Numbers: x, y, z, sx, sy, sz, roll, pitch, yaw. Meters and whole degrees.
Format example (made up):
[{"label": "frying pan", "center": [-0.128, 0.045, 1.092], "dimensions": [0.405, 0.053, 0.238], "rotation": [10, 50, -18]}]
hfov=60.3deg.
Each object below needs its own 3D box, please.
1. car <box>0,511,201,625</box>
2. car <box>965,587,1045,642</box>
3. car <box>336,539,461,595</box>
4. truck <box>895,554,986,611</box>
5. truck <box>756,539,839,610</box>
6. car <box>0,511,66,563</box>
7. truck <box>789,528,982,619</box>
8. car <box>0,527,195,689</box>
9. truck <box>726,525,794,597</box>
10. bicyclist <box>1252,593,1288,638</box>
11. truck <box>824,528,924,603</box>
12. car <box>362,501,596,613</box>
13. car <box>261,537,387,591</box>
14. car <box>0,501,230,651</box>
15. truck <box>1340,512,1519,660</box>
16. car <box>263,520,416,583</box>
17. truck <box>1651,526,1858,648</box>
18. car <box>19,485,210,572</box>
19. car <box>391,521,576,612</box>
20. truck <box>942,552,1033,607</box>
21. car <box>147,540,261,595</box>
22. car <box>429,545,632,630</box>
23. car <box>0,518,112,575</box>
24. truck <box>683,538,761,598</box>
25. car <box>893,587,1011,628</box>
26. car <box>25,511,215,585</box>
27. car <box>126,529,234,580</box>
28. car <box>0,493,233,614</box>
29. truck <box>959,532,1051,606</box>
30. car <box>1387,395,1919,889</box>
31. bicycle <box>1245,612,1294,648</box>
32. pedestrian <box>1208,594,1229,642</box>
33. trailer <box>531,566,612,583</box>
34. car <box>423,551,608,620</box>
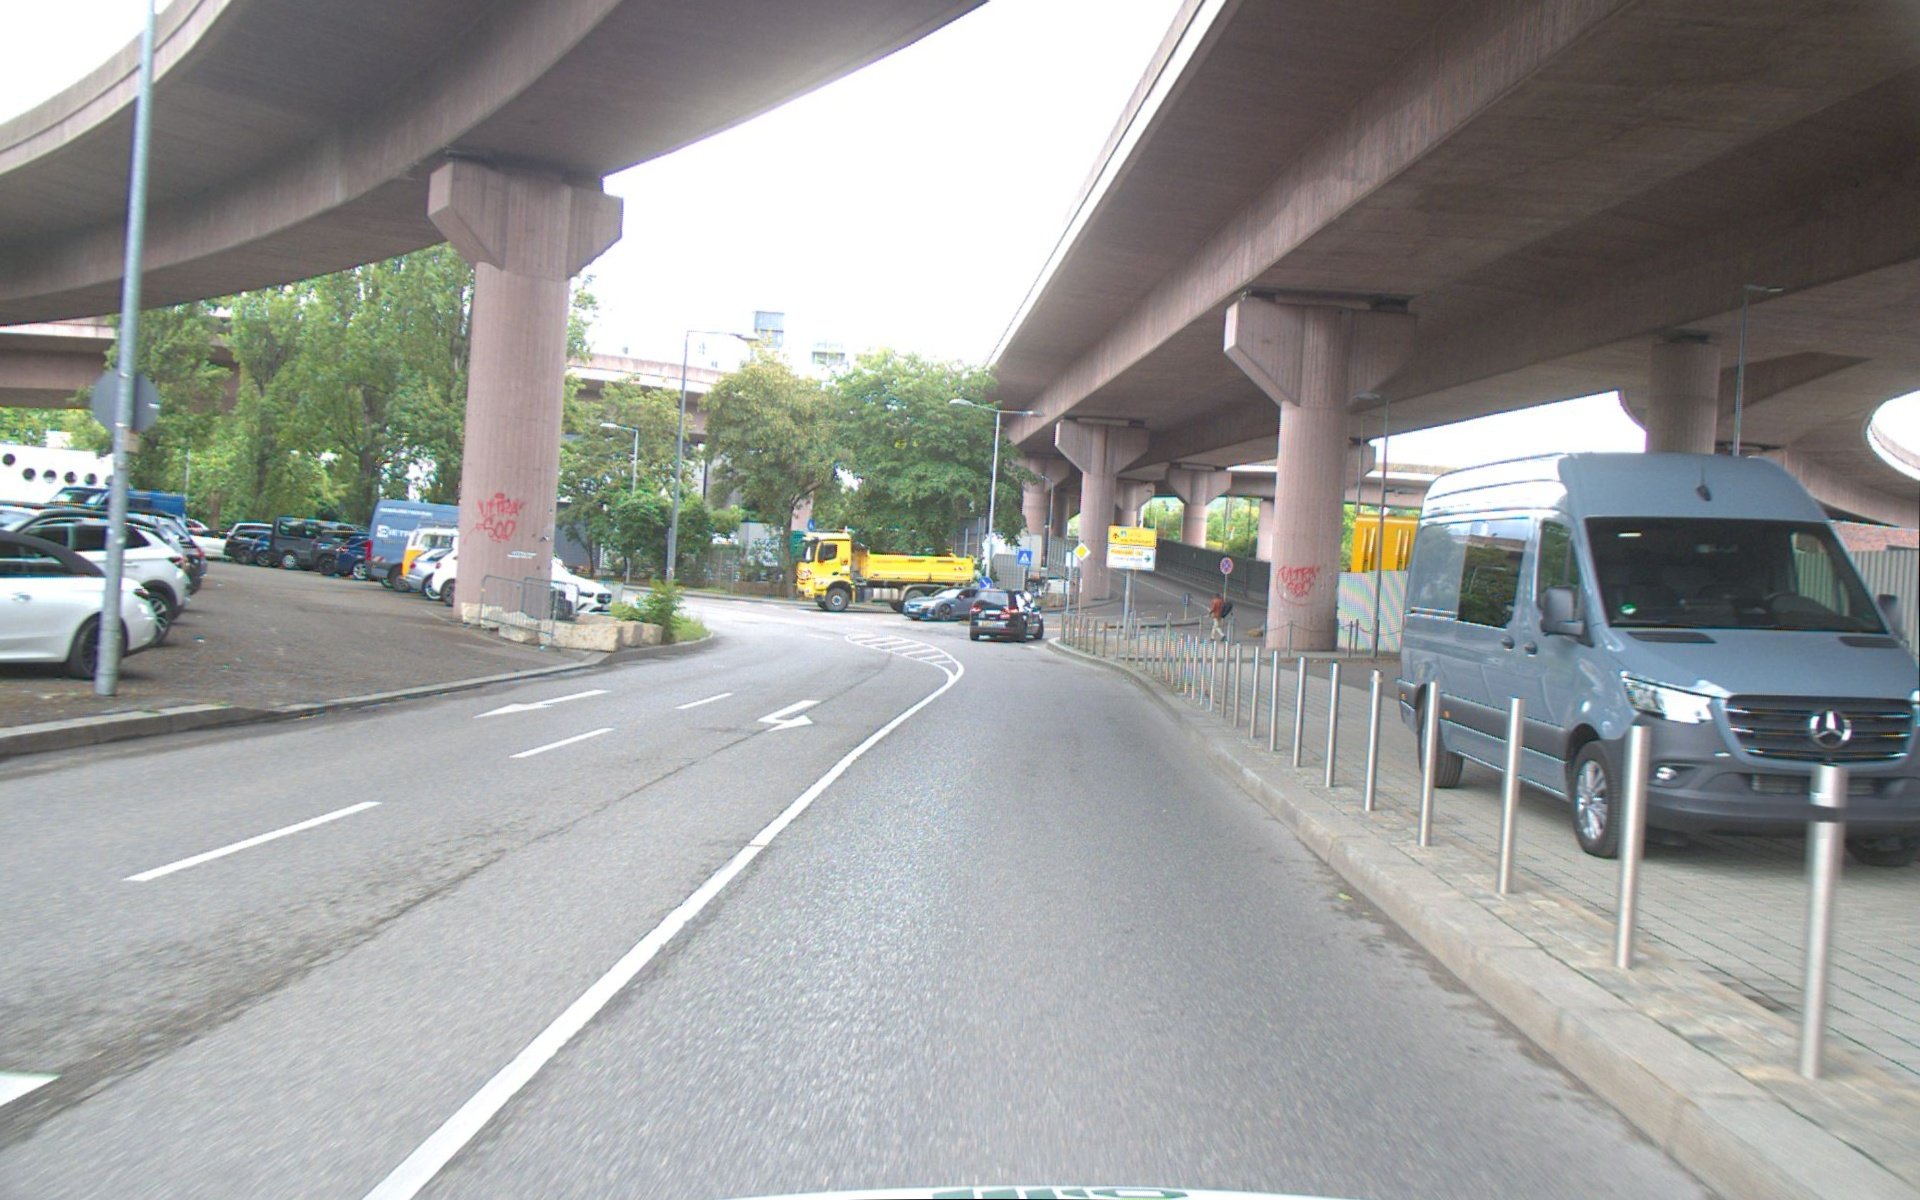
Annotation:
[{"label": "car", "center": [-12.929, -0.444, 23.458], "dimensions": [1.750, 1.479, 3.747], "rotation": [3, 0, 20]}, {"label": "car", "center": [1.561, 0.468, 55.253], "dimensions": [1.951, 1.708, 4.564], "rotation": [2, 0, 10]}, {"label": "car", "center": [-19.440, -1.137, 57.409], "dimensions": [3.921, 1.770, 2.013], "rotation": [2, 0, -15]}, {"label": "truck", "center": [-1.215, -1.077, 97.172], "dimensions": [2.877, 2.949, 6.510], "rotation": [2, 2, -24]}, {"label": "truck", "center": [-9.846, -1.560, 99.431], "dimensions": [3.023, 4.032, 6.876], "rotation": [2, 0, -22]}, {"label": "car", "center": [-36.329, -2.478, 62.854], "dimensions": [1.619, 1.741, 4.085], "rotation": [6, -1, 14]}, {"label": "truck", "center": [-3.373, -1.209, 74.956], "dimensions": [8.093, 3.540, 2.923], "rotation": [3, 4, -19]}, {"label": "car", "center": [-10.084, -0.014, 16.090], "dimensions": [1.953, 1.505, 4.830], "rotation": [7, -1, 17]}, {"label": "truck", "center": [-14.487, -2.902, 119.191], "dimensions": [3.155, 4.862, 8.006], "rotation": [2, 2, -19]}, {"label": "bicyclist", "center": [10.100, 0.514, 53.966], "dimensions": [0.782, 1.430, 1.063], "rotation": [1, 0, -12]}, {"label": "truck", "center": [-5.048, -2.062, 95.432], "dimensions": [3.026, 3.934, 7.990], "rotation": [2, 2, -24]}, {"label": "car", "center": [-14.150, -1.259, 48.920], "dimensions": [6.049, 2.772, 2.368], "rotation": [4, 0, 1]}, {"label": "car", "center": [-22.655, -1.265, 59.079], "dimensions": [3.921, 1.760, 1.992], "rotation": [2, 0, -15]}, {"label": "car", "center": [-11.323, -0.335, 20.052], "dimensions": [1.953, 1.609, 4.402], "rotation": [7, 0, 17]}, {"label": "truck", "center": [17.461, -0.407, 61.045], "dimensions": [3.088, 5.003, 8.675], "rotation": [3, 0, 38]}, {"label": "car", "center": [-24.193, -1.888, 64.603], "dimensions": [4.985, 2.108, 2.259], "rotation": [3, -1, 0]}, {"label": "truck", "center": [21.689, -0.315, 44.849], "dimensions": [3.089, 2.995, 8.673], "rotation": [-1, 0, 39]}, {"label": "car", "center": [-25.004, -2.068, 49.134], "dimensions": [2.073, 2.294, 5.020], "rotation": [2, 0, 17]}, {"label": "car", "center": [-13.235, -0.924, 46.105], "dimensions": [4.461, 2.147, 1.852], "rotation": [4, 0, 5]}, {"label": "truck", "center": [1.548, -1.266, 98.740], "dimensions": [2.877, 2.949, 6.510], "rotation": [2, 2, -24]}, {"label": "car", "center": [-31.411, -1.342, 68.846], "dimensions": [3.921, 2.049, 1.992], "rotation": [2, 0, -15]}, {"label": "car", "center": [-10.513, -0.309, 40.604], "dimensions": [4.289, 1.633, 1.956], "rotation": [6, 1, 9]}, {"label": "car", "center": [-32.441, -1.924, 58.443], "dimensions": [1.803, 1.831, 4.304], "rotation": [1, 4, 20]}, {"label": "truck", "center": [-16.688, -2.289, 115.289], "dimensions": [3.018, 3.681, 7.852], "rotation": [2, 2, -26]}, {"label": "car", "center": [-0.299, 0.330, 69.473], "dimensions": [2.137, 1.528, 4.897], "rotation": [3, 0, 44]}, {"label": "car", "center": [-21.571, -1.313, 42.658], "dimensions": [1.856, 1.705, 4.153], "rotation": [2, 0, 22]}, {"label": "car", "center": [-34.421, -2.000, 73.113], "dimensions": [3.921, 2.049, 1.992], "rotation": [2, 0, -15]}, {"label": "car", "center": [-14.191, -0.719, 26.986], "dimensions": [1.819, 1.720, 4.164], "rotation": [4, 0, 20]}, {"label": "truck", "center": [2.797, -2.044, 105.887], "dimensions": [3.020, 4.373, 8.004], "rotation": [2, 2, -20]}, {"label": "car", "center": [4.876, 0.220, 12.121], "dimensions": [1.952, 2.658, 6.075], "rotation": [2, 0, 1]}, {"label": "bicycle", "center": [10.087, 0.968, 53.963], "dimensions": [0.788, 1.117, 2.125], "rotation": [1, 0, -12]}, {"label": "pedestrian", "center": [9.280, 0.643, 59.318], "dimensions": [0.527, 1.705, 0.556], "rotation": [1, 1, -15]}, {"label": "trailer", "center": [-24.153, -1.622, 102.606], "dimensions": [2.139, 0.756, 6.196], "rotation": [-2, 4, -43]}, {"label": "car", "center": [-11.653, -0.381, 43.545], "dimensions": [4.155, 1.394, 2.001], "rotation": [6, 1, 7]}]
